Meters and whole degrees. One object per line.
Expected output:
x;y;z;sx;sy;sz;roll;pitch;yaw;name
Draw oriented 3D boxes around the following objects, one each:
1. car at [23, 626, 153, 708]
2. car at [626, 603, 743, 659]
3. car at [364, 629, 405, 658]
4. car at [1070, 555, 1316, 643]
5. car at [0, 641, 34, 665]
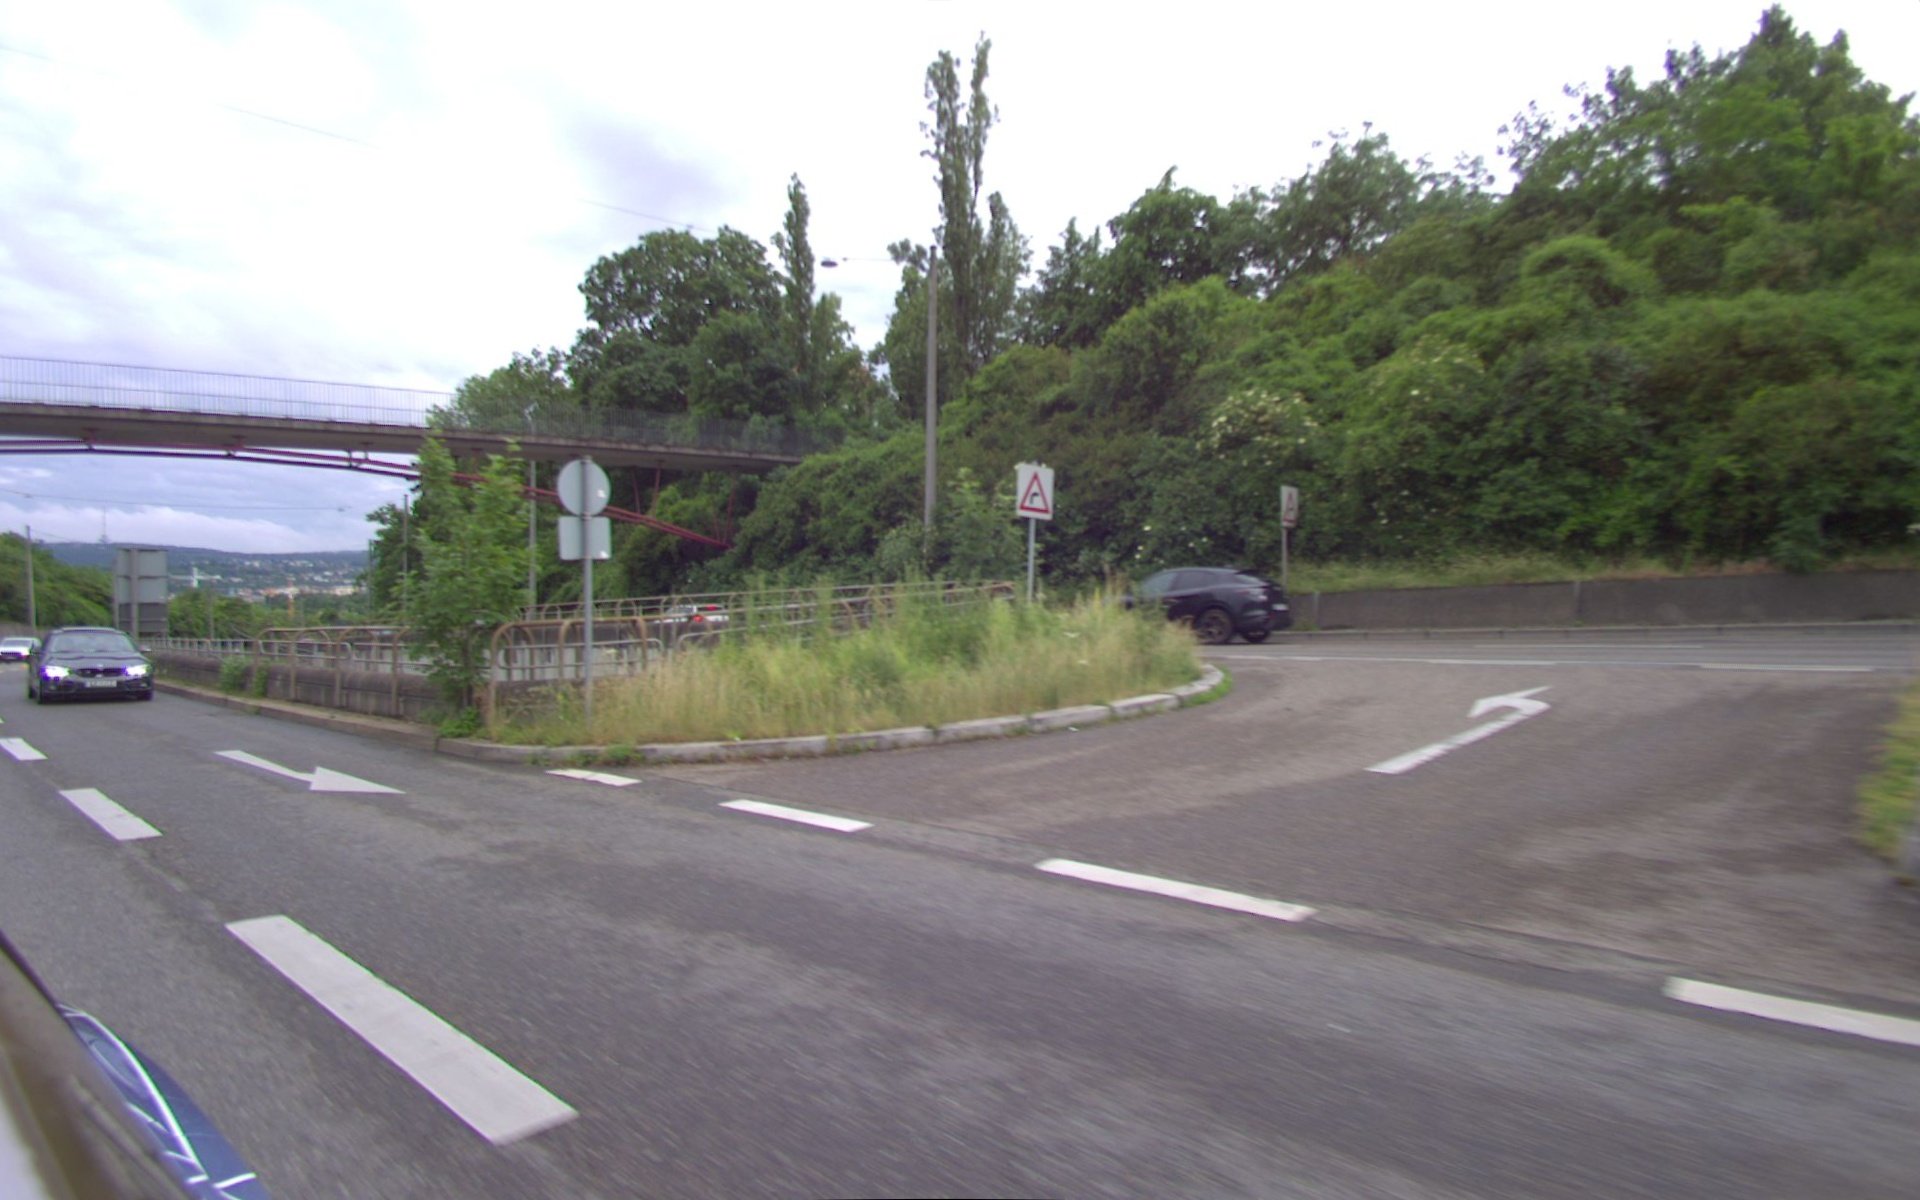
-17.605;1.293;20.384;1.705;1.482;3.889;1;-2;-45;car
-9.793;1.068;35.794;1.971;1.848;4.632;0;-1;-45;car
-39.665;2.977;69.669;1.650;1.930;4.567;2;-3;-39;car
4.867;-0.006;21.599;4.723;1.649;1.972;-1;2;43;car
-66.055;3.682;70.589;1.782;1.521;4.008;-1;-1;-38;car
